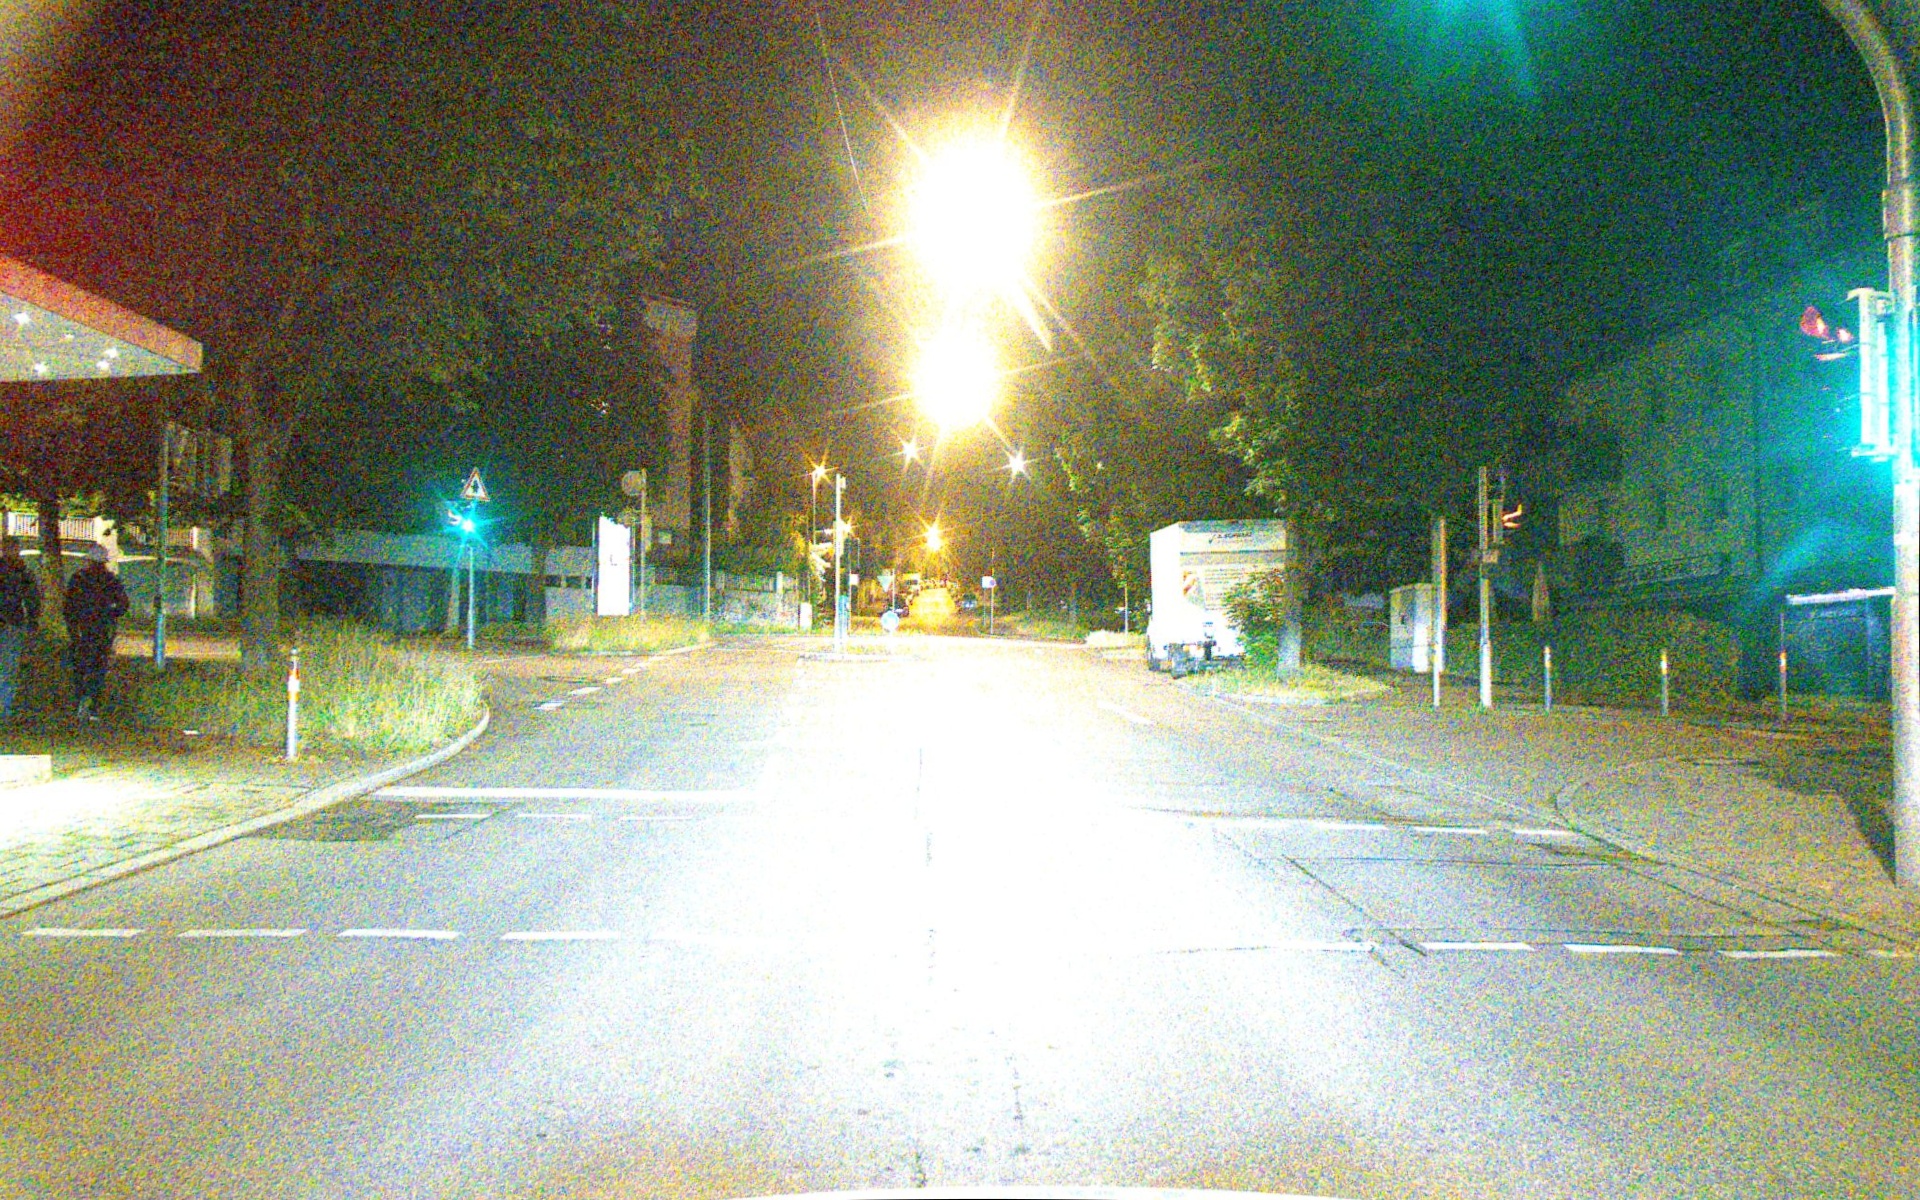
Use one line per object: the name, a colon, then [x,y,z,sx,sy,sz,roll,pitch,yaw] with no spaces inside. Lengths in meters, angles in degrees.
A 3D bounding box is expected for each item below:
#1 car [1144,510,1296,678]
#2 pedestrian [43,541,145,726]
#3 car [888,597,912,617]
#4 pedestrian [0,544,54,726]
car: [5.251,-0.105,34.315,2.249,3.147,5.840,-1,0,1]
pedestrian: [-8.771,0.337,16.774,0.558,1.808,0.737,3,-1,-1]
car: [-4.841,0.543,134.320,1.869,1.585,3.903,1,0,-1]
pedestrian: [-9.365,0.338,16.286,0.558,1.761,0.543,1,-1,-1]
